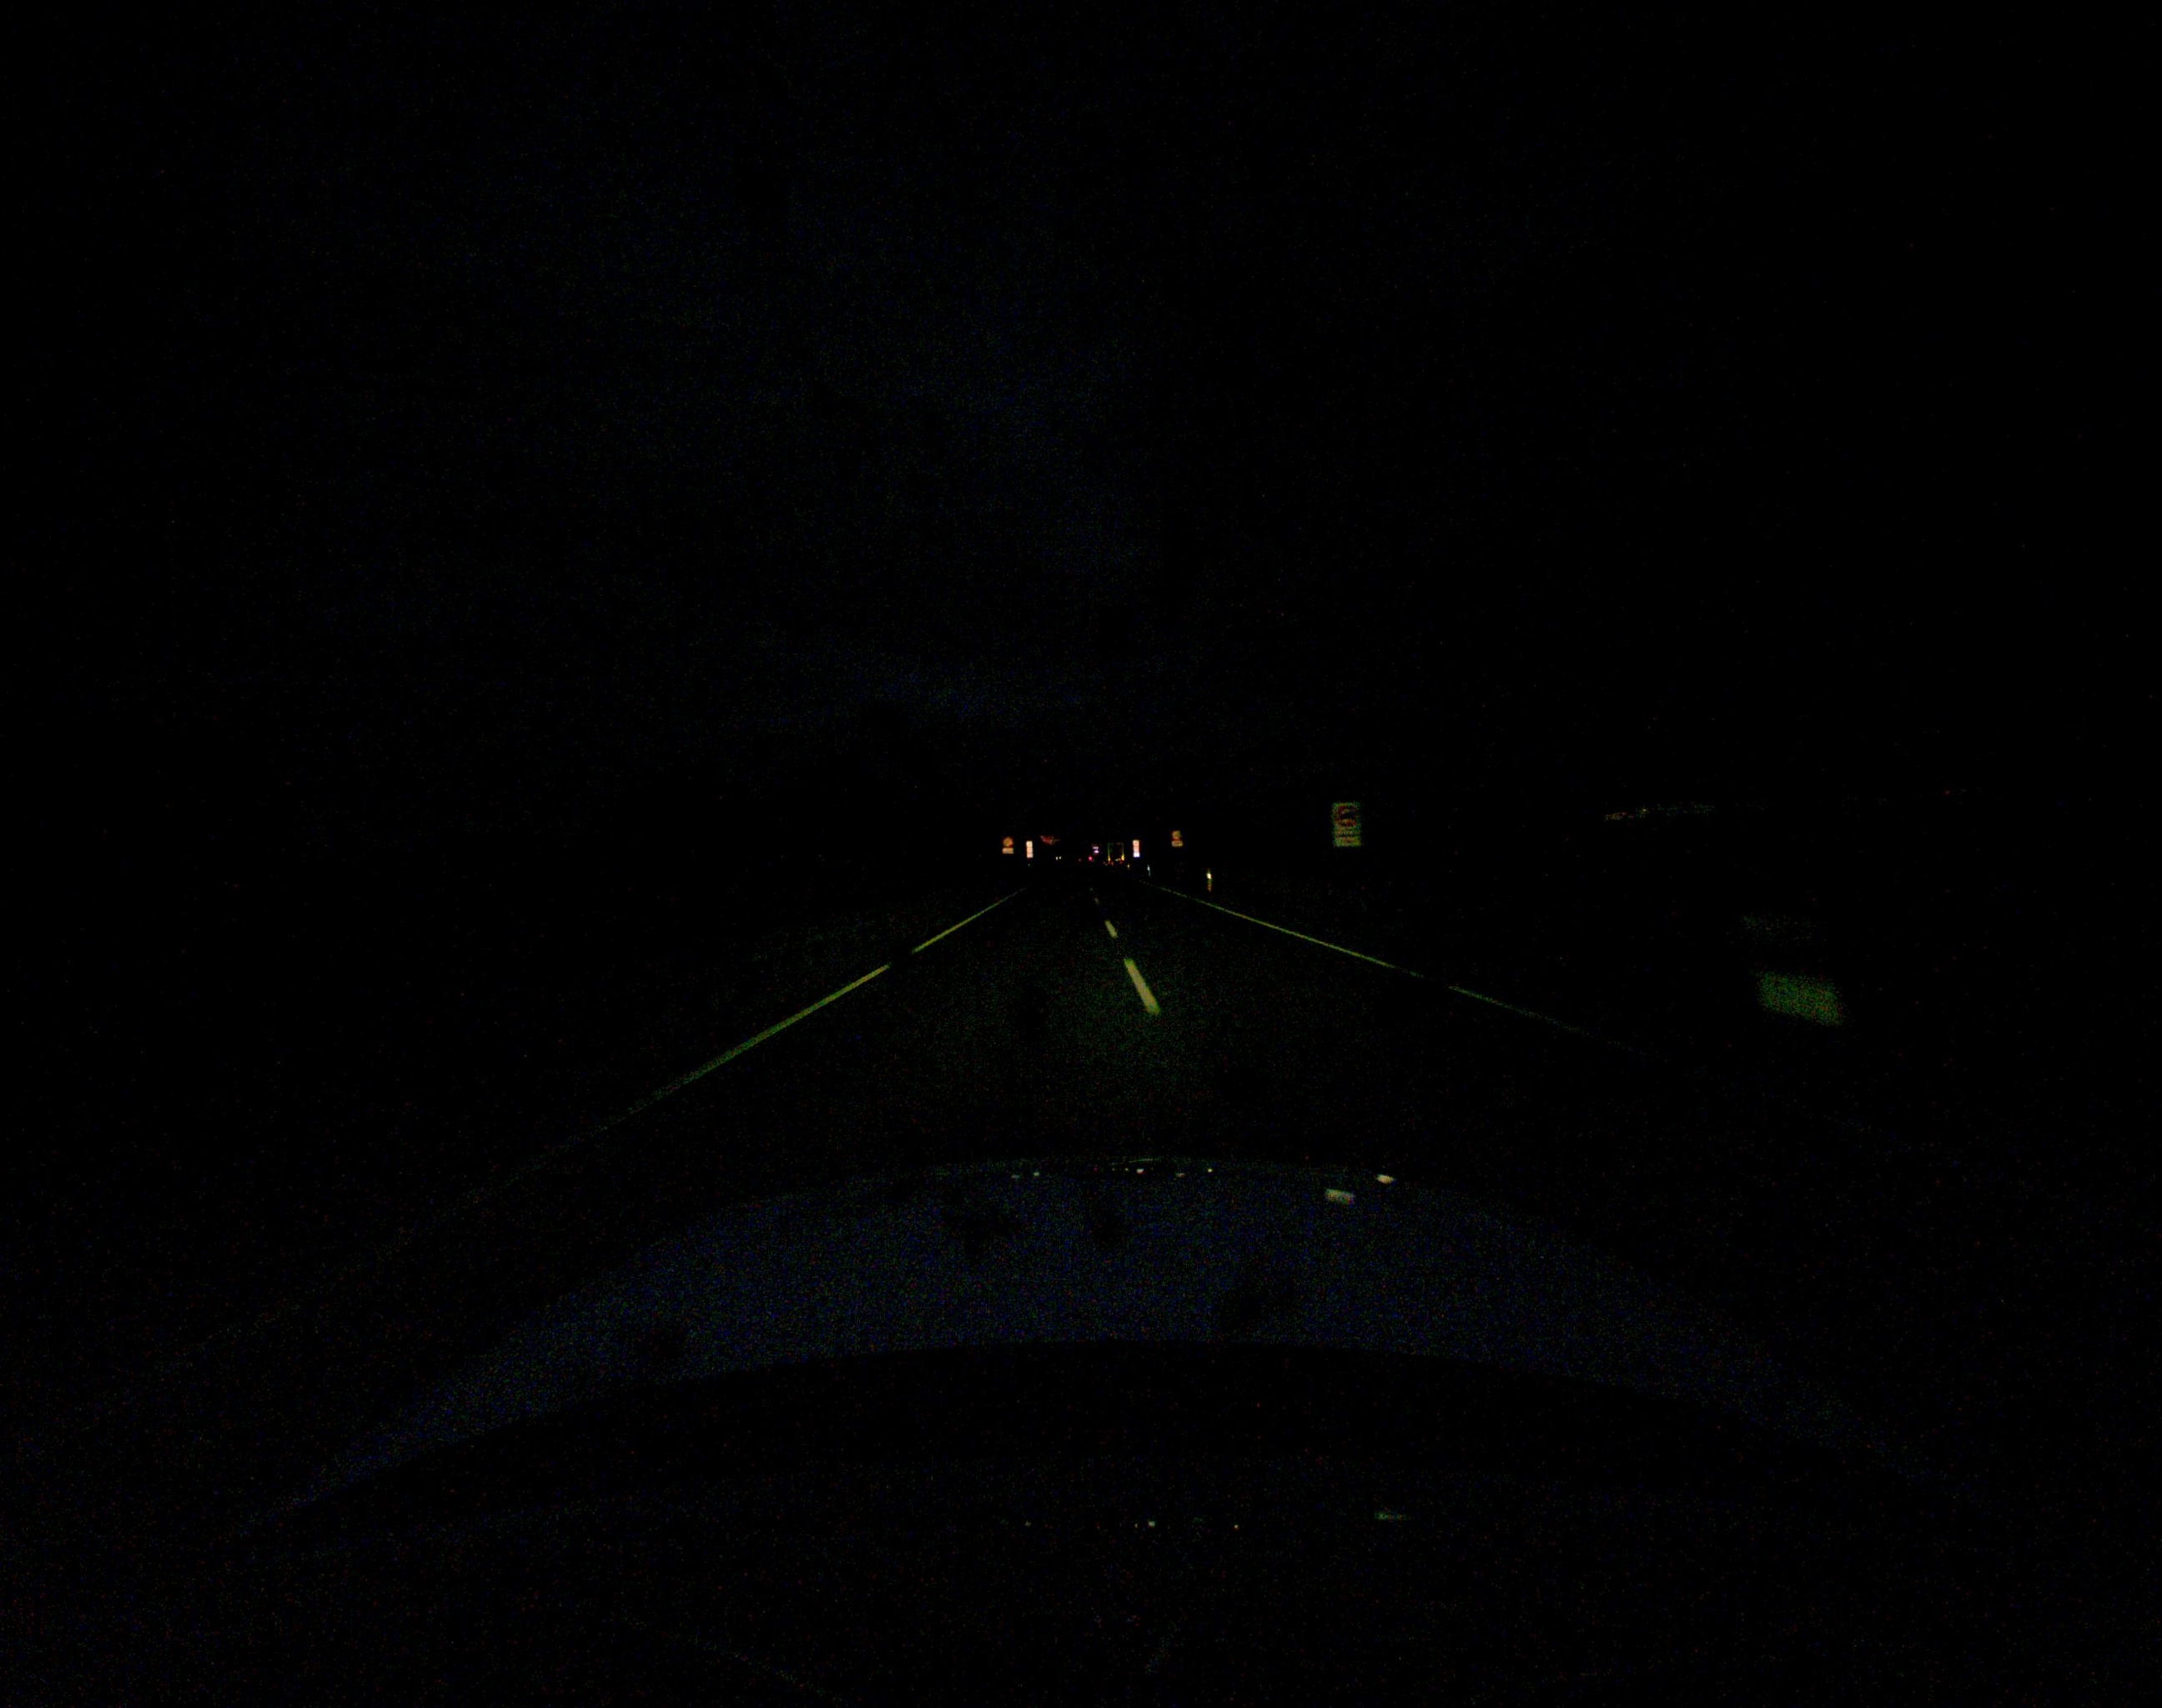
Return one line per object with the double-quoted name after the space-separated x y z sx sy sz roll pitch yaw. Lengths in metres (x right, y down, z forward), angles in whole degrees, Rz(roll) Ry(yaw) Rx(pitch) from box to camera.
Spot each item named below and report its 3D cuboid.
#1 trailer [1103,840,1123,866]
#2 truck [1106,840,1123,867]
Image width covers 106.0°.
5.302 -0.127 135.954 2.614 4.104 12.933 -2 0 0 "trailer"
5.270 -0.119 129.059 2.571 4.071 6.130 -1 0 0 "truck"
